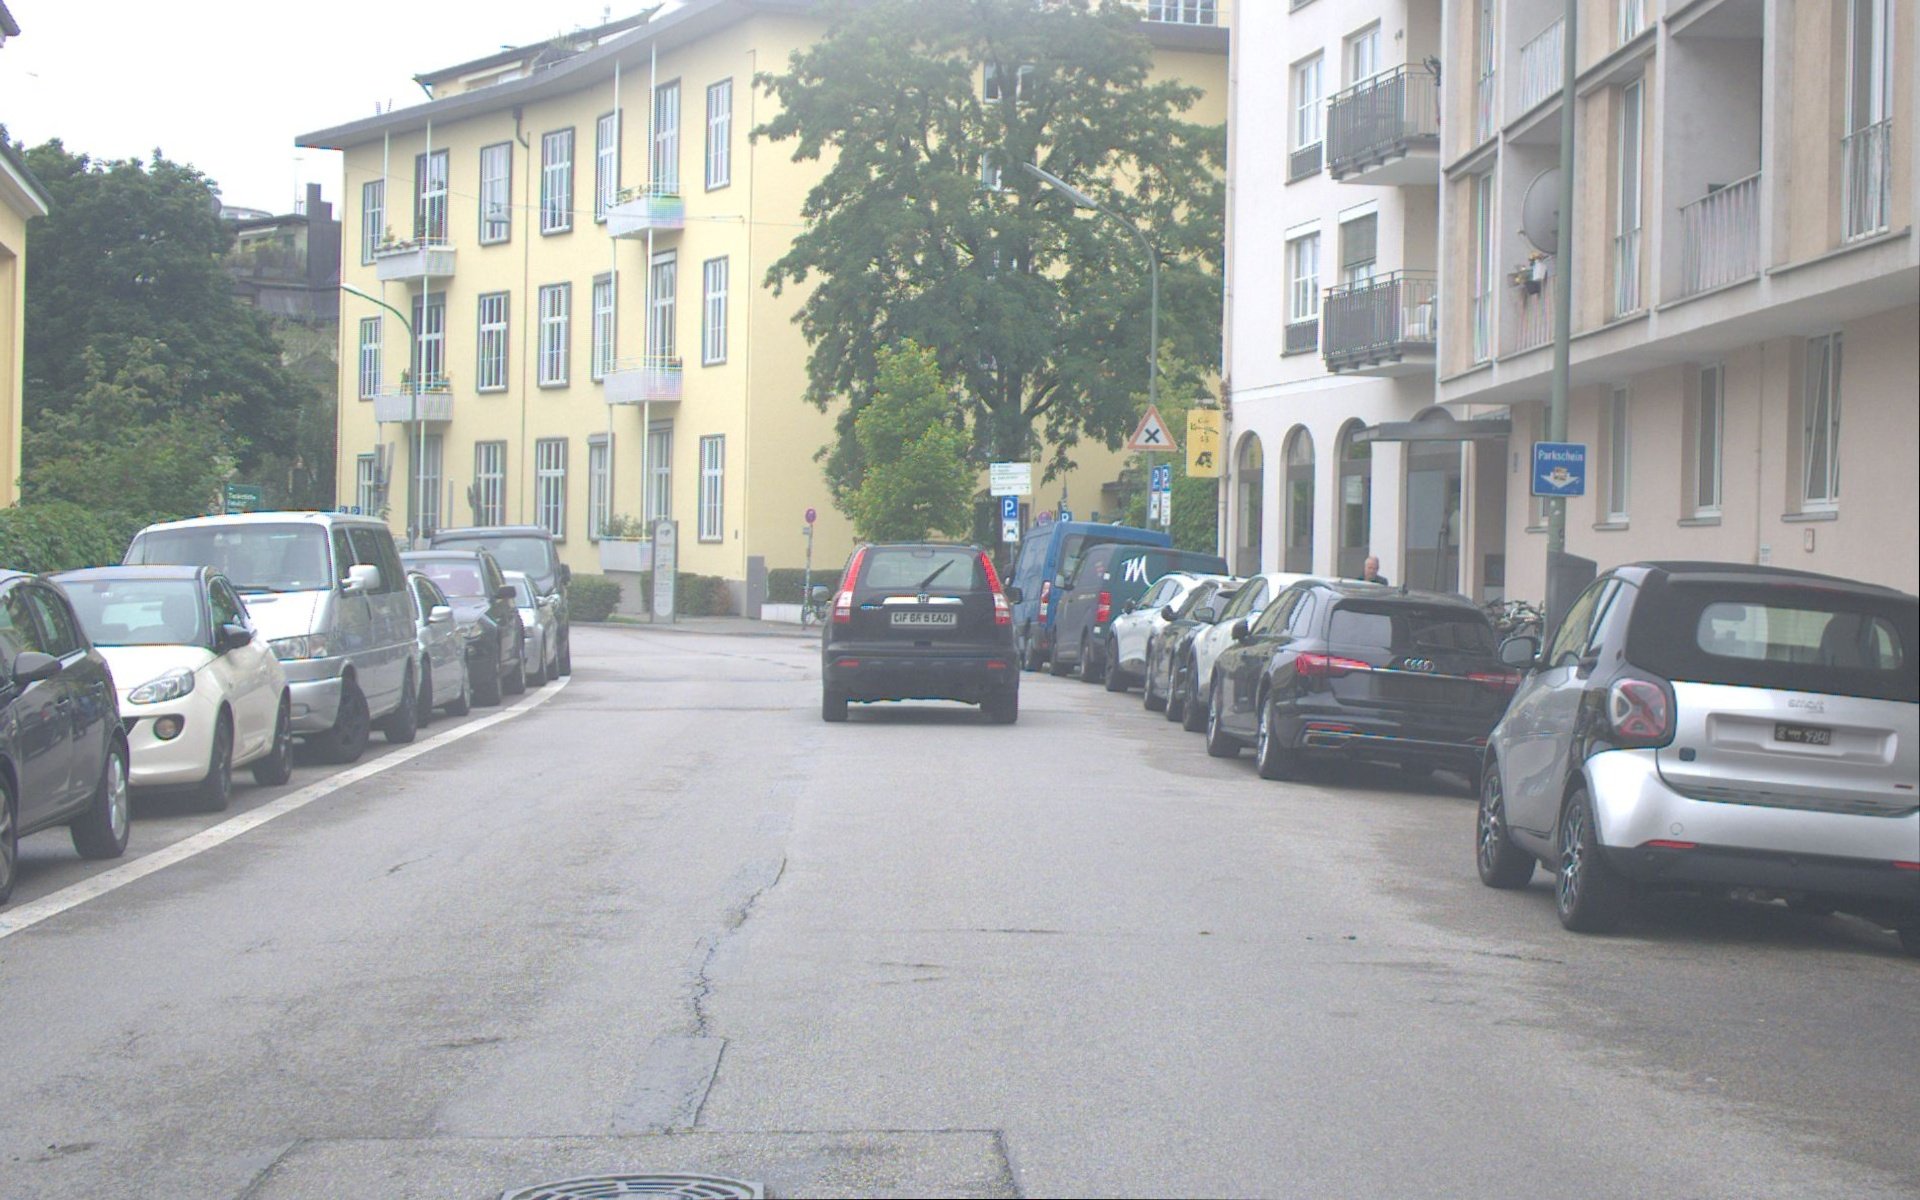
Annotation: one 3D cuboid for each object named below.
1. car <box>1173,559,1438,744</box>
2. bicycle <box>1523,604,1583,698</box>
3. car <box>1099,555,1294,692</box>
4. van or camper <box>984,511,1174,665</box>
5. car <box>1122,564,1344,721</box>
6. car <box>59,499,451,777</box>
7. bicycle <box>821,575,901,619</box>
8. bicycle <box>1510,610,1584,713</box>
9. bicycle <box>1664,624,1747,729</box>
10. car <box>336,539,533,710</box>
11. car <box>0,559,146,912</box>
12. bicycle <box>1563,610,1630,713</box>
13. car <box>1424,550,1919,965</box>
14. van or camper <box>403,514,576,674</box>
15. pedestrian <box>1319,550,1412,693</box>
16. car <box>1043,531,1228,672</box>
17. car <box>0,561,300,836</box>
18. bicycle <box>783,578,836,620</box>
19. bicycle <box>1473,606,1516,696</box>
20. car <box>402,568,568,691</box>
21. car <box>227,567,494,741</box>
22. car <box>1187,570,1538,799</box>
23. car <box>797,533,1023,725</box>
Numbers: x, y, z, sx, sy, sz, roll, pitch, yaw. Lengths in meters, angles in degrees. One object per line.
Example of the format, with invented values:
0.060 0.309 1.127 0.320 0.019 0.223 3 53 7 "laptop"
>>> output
3.033 0.412 30.985 1.739 1.494 4.220 1 1 -3 "car"
6.660 0.565 38.647 0.390 1.020 1.401 0 1 -2 "bicycle"
2.791 0.237 41.377 1.739 1.532 4.274 0 1 -4 "car"
1.747 -0.214 52.552 2.060 2.223 5.439 0 1 -7 "van or camper"
2.799 0.397 36.136 1.739 1.494 4.496 -1 1 -3 "car"
-5.279 0.231 26.406 1.993 1.869 4.758 -2 1 0 "car"
-2.601 -0.088 90.146 2.215 1.113 0.609 2 1 40 "bicycle"
6.072 0.623 35.597 0.483 1.020 1.401 0 1 -2 "bicycle"
7.042 0.714 32.526 0.444 0.932 1.401 0 1 -2 "bicycle"
-5.627 0.209 37.256 1.619 1.724 4.425 -1 1 -2 "car"
-4.936 0.588 15.869 1.578 1.450 3.905 -2 1 -3 "car"
6.581 0.631 35.596 0.390 1.020 1.401 0 1 -2 "bicycle"
3.264 0.603 15.477 1.671 1.529 3.881 4 1 -1 "car"
-6.371 -0.122 47.004 1.960 2.058 4.754 -1 1 -3 "van or camper"
4.836 0.246 41.061 0.898 1.682 1.320 0 1 -3 "pedestrian"
2.325 -0.029 46.837 1.964 1.810 4.936 0 1 -4 "car"
-5.152 0.540 21.221 1.578 1.487 3.731 -2 1 -3 "car"
-4.046 -0.037 92.225 0.608 1.069 2.218 0 1 -25 "bicycle"
6.261 0.588 40.318 0.423 1.020 1.198 0 1 5 "bicycle"
-5.808 0.325 42.392 1.619 1.373 4.072 -1 1 -2 "car"
-5.503 0.447 32.069 1.701 1.418 4.425 -2 1 0 "car"
2.880 0.556 25.548 1.796 1.415 4.483 3 1 -3 "car"
-0.416 0.219 32.818 1.995 1.688 4.380 -1 1 1 "car"
